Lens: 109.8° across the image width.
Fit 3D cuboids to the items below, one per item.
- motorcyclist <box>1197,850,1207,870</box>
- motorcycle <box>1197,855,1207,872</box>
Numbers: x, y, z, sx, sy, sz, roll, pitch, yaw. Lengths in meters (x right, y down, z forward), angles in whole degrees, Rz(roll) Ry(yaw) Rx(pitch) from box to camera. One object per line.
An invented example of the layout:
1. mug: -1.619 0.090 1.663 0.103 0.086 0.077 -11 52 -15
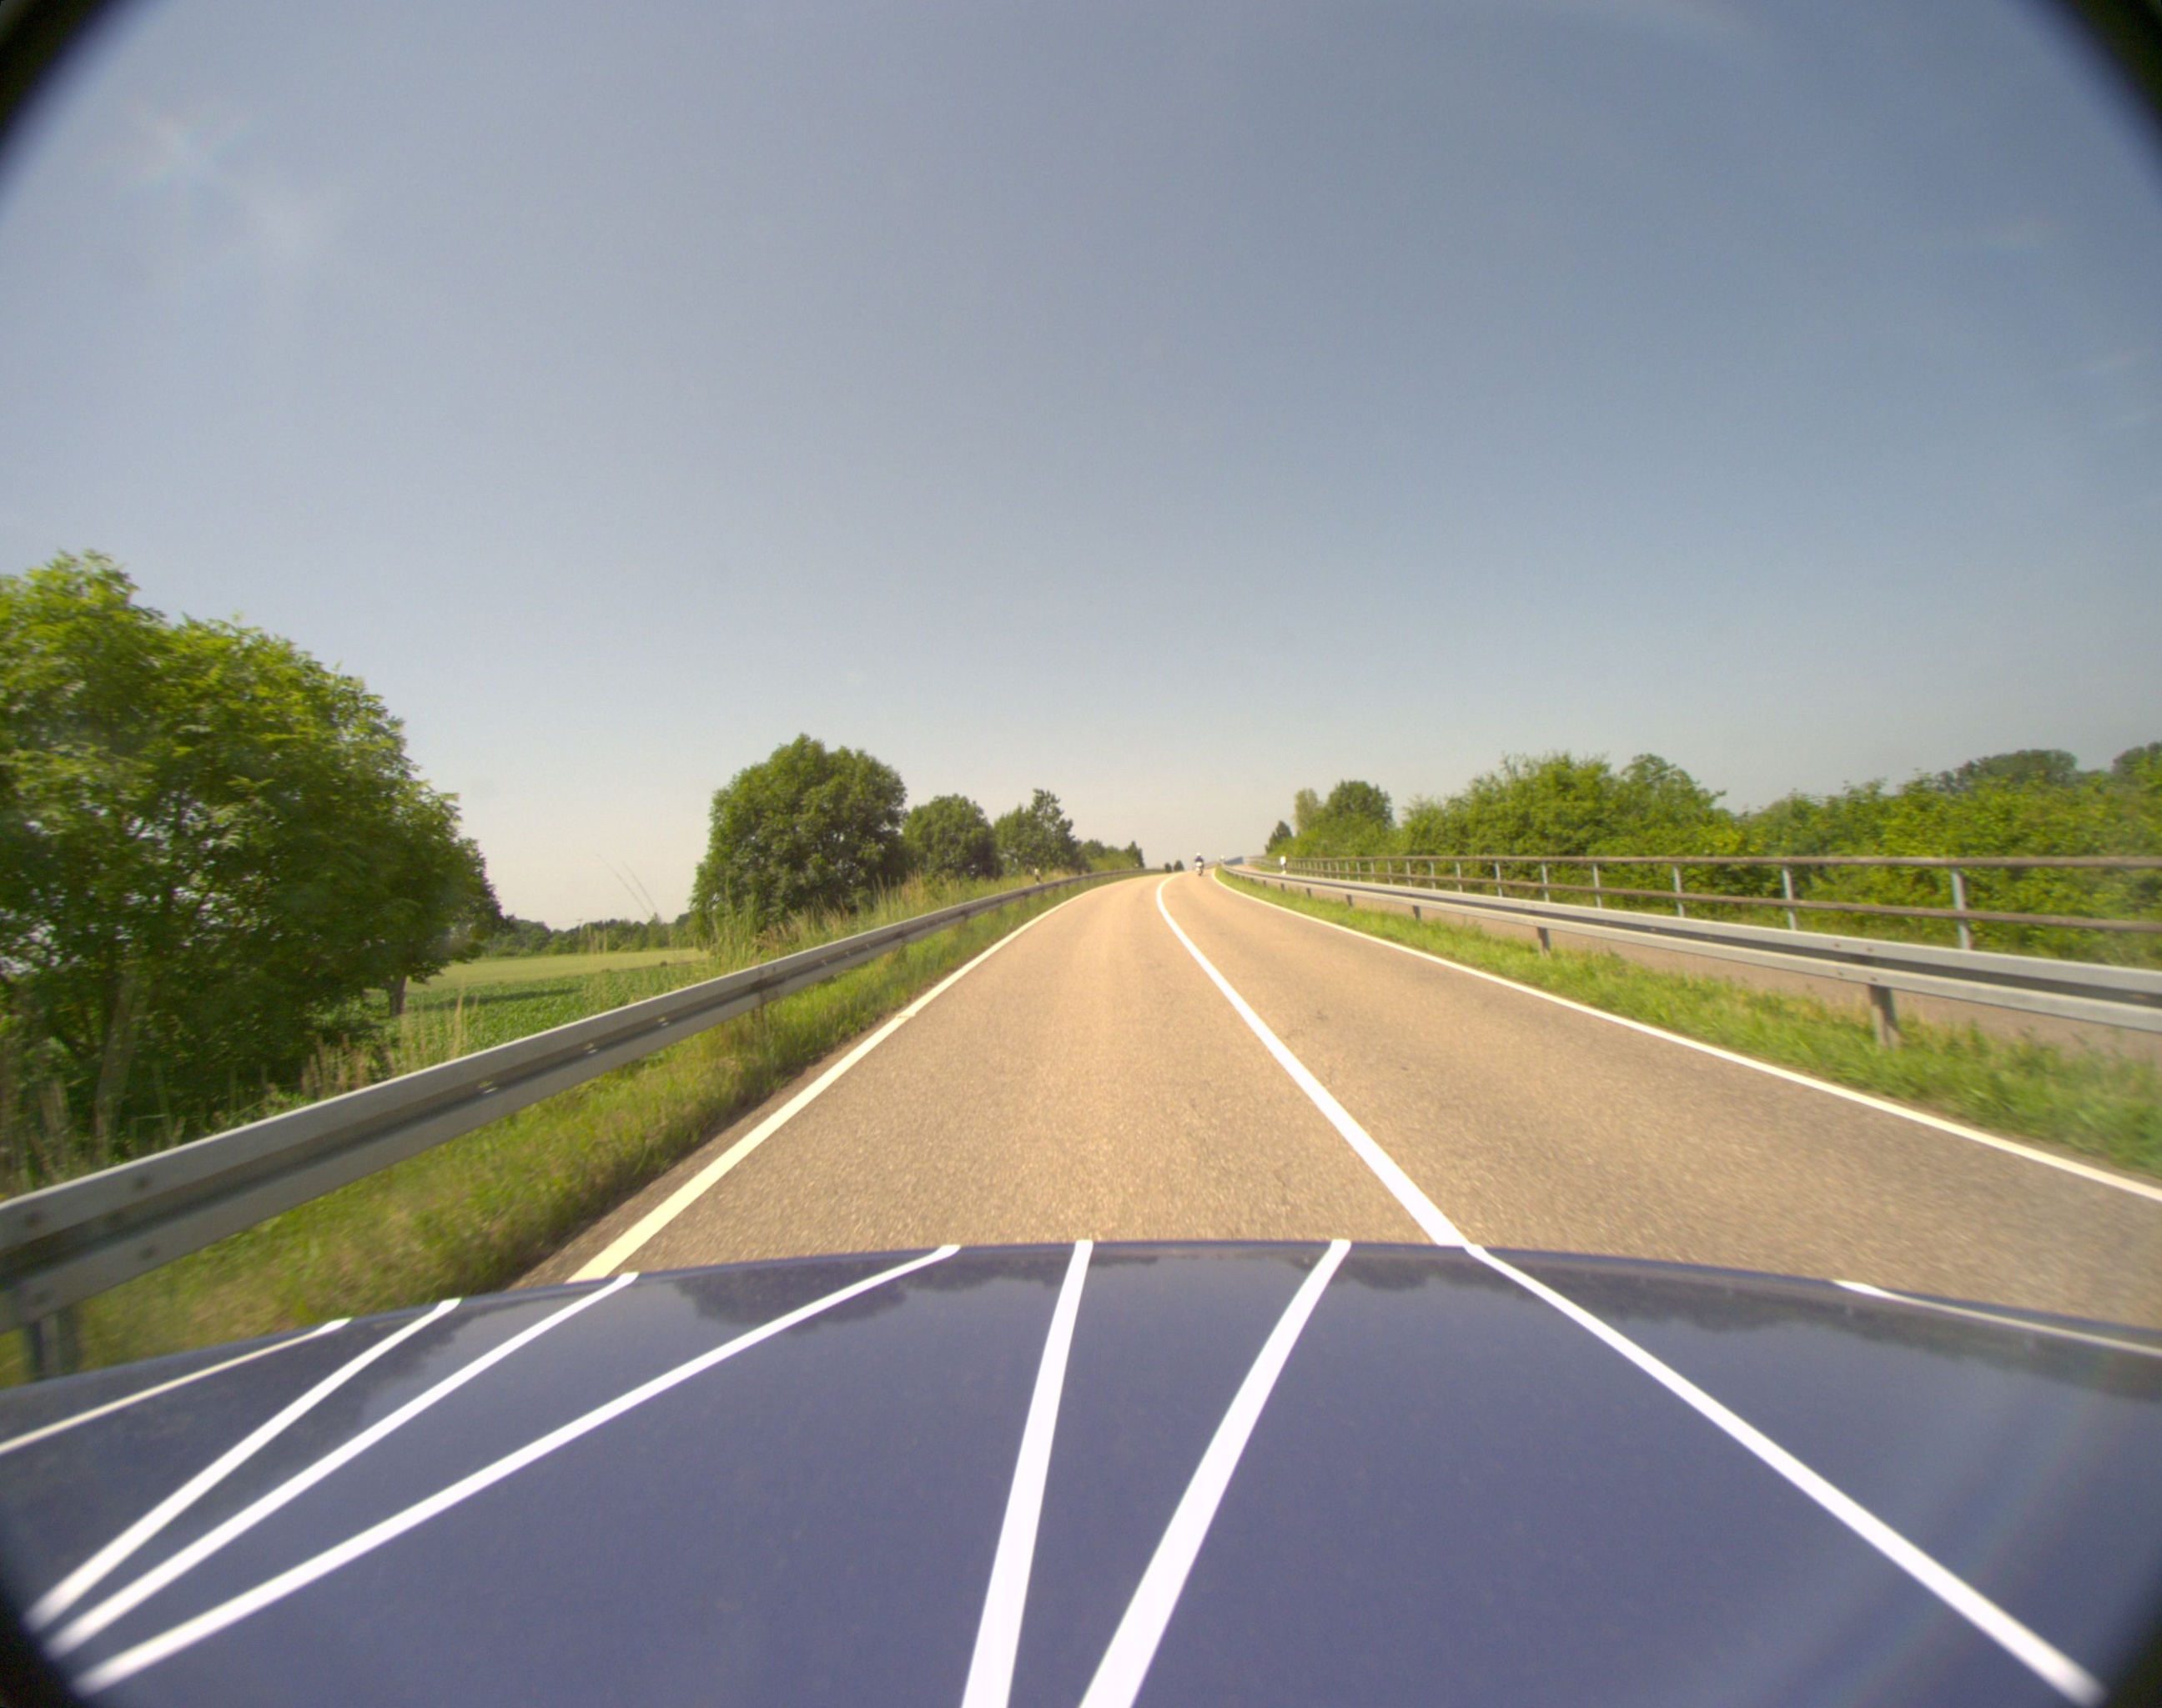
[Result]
1. motorcyclist: 9.242 0.453 58.126 0.655 1.553 0.775 -2 0 4
2. motorcycle: 9.265 0.723 58.143 0.644 1.216 1.639 -2 0 4
